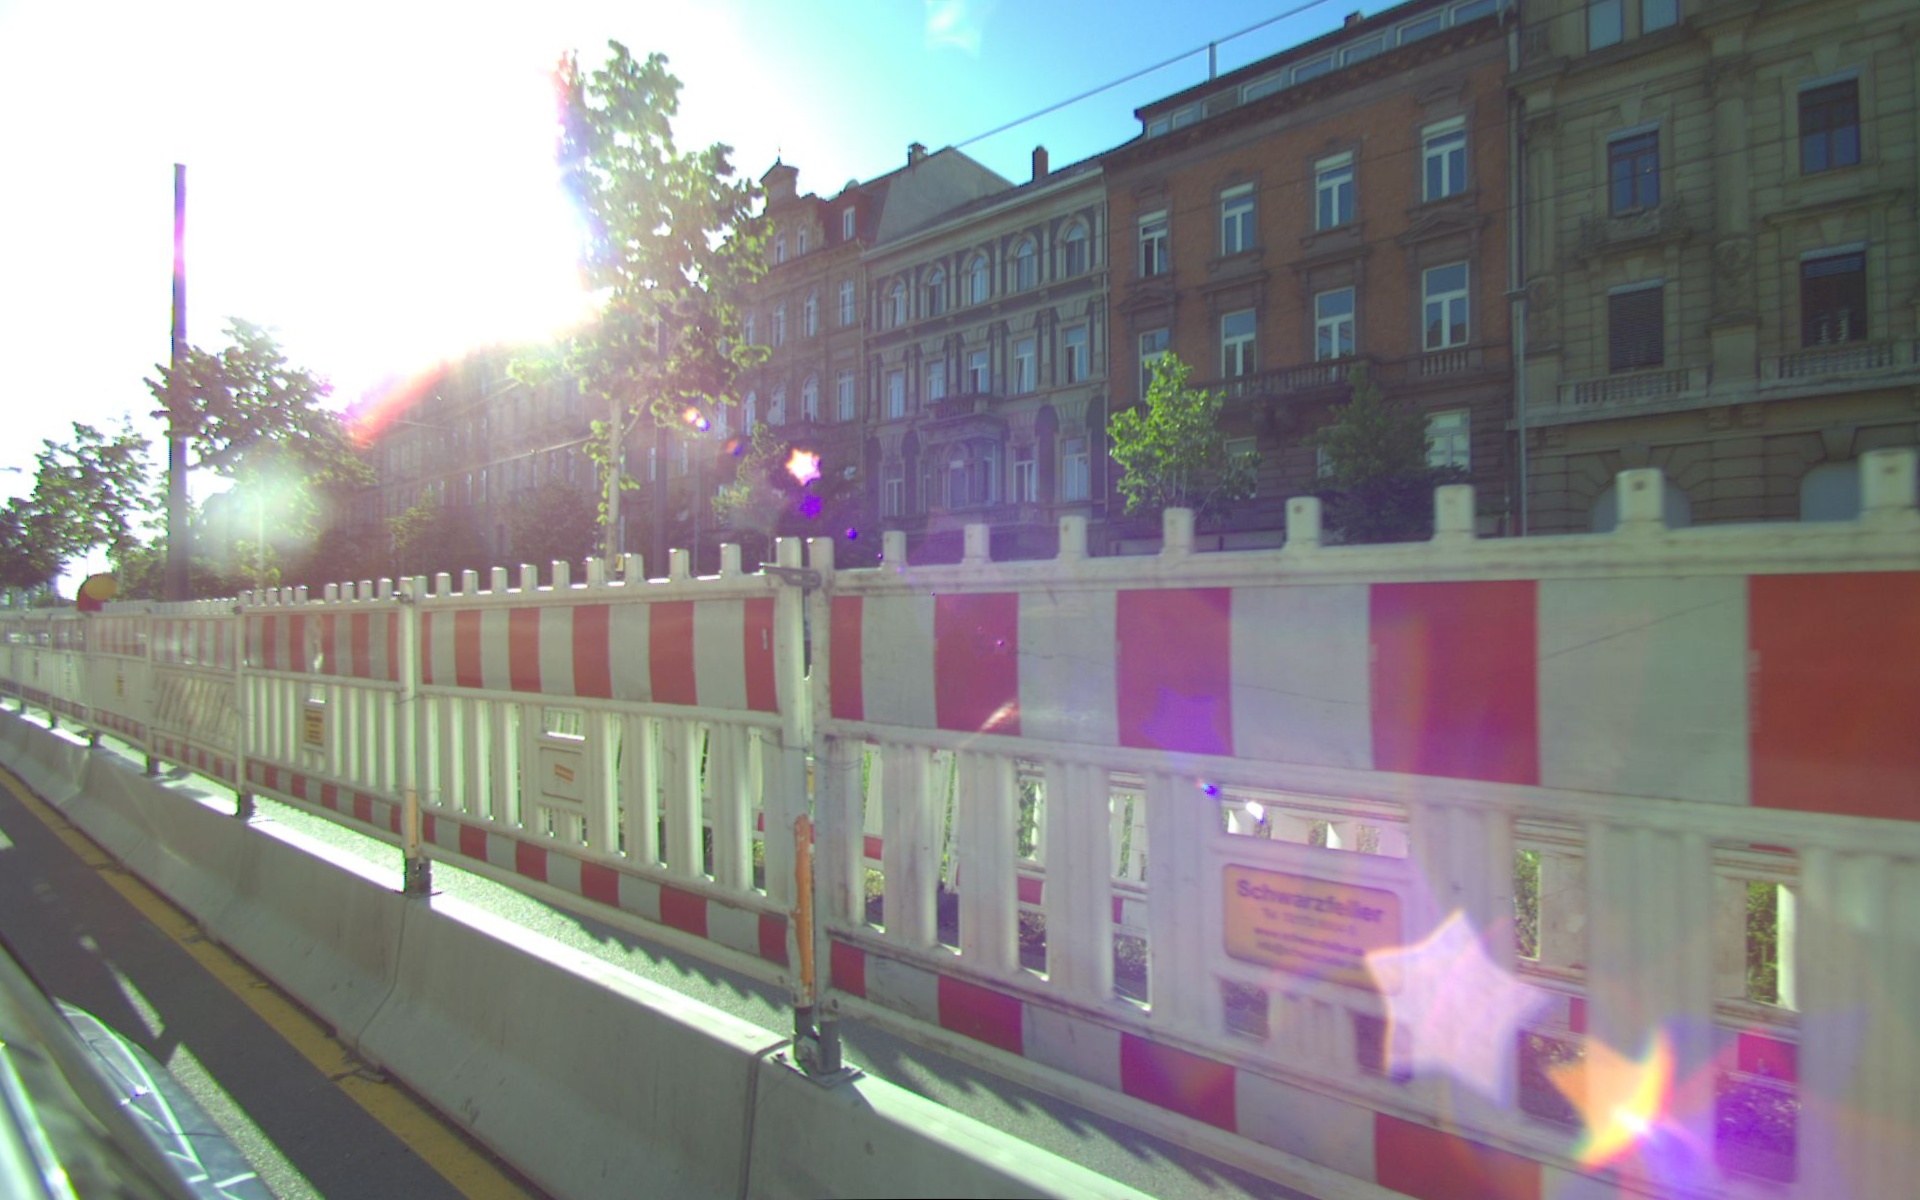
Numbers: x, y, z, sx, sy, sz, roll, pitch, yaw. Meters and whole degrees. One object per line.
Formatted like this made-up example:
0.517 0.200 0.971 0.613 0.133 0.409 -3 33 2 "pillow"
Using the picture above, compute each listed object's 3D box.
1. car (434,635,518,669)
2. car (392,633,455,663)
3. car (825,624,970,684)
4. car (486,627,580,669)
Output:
-24.086 2.554 50.297 4.983 1.549 1.972 -2 0 42 "car"
-29.053 2.562 54.774 4.026 1.490 1.730 -2 0 42 "car"
-2.026 1.639 31.750 4.545 1.671 1.917 -2 0 43 "car"
-19.465 2.154 46.066 4.885 1.710 1.973 -2 0 41 "car"
